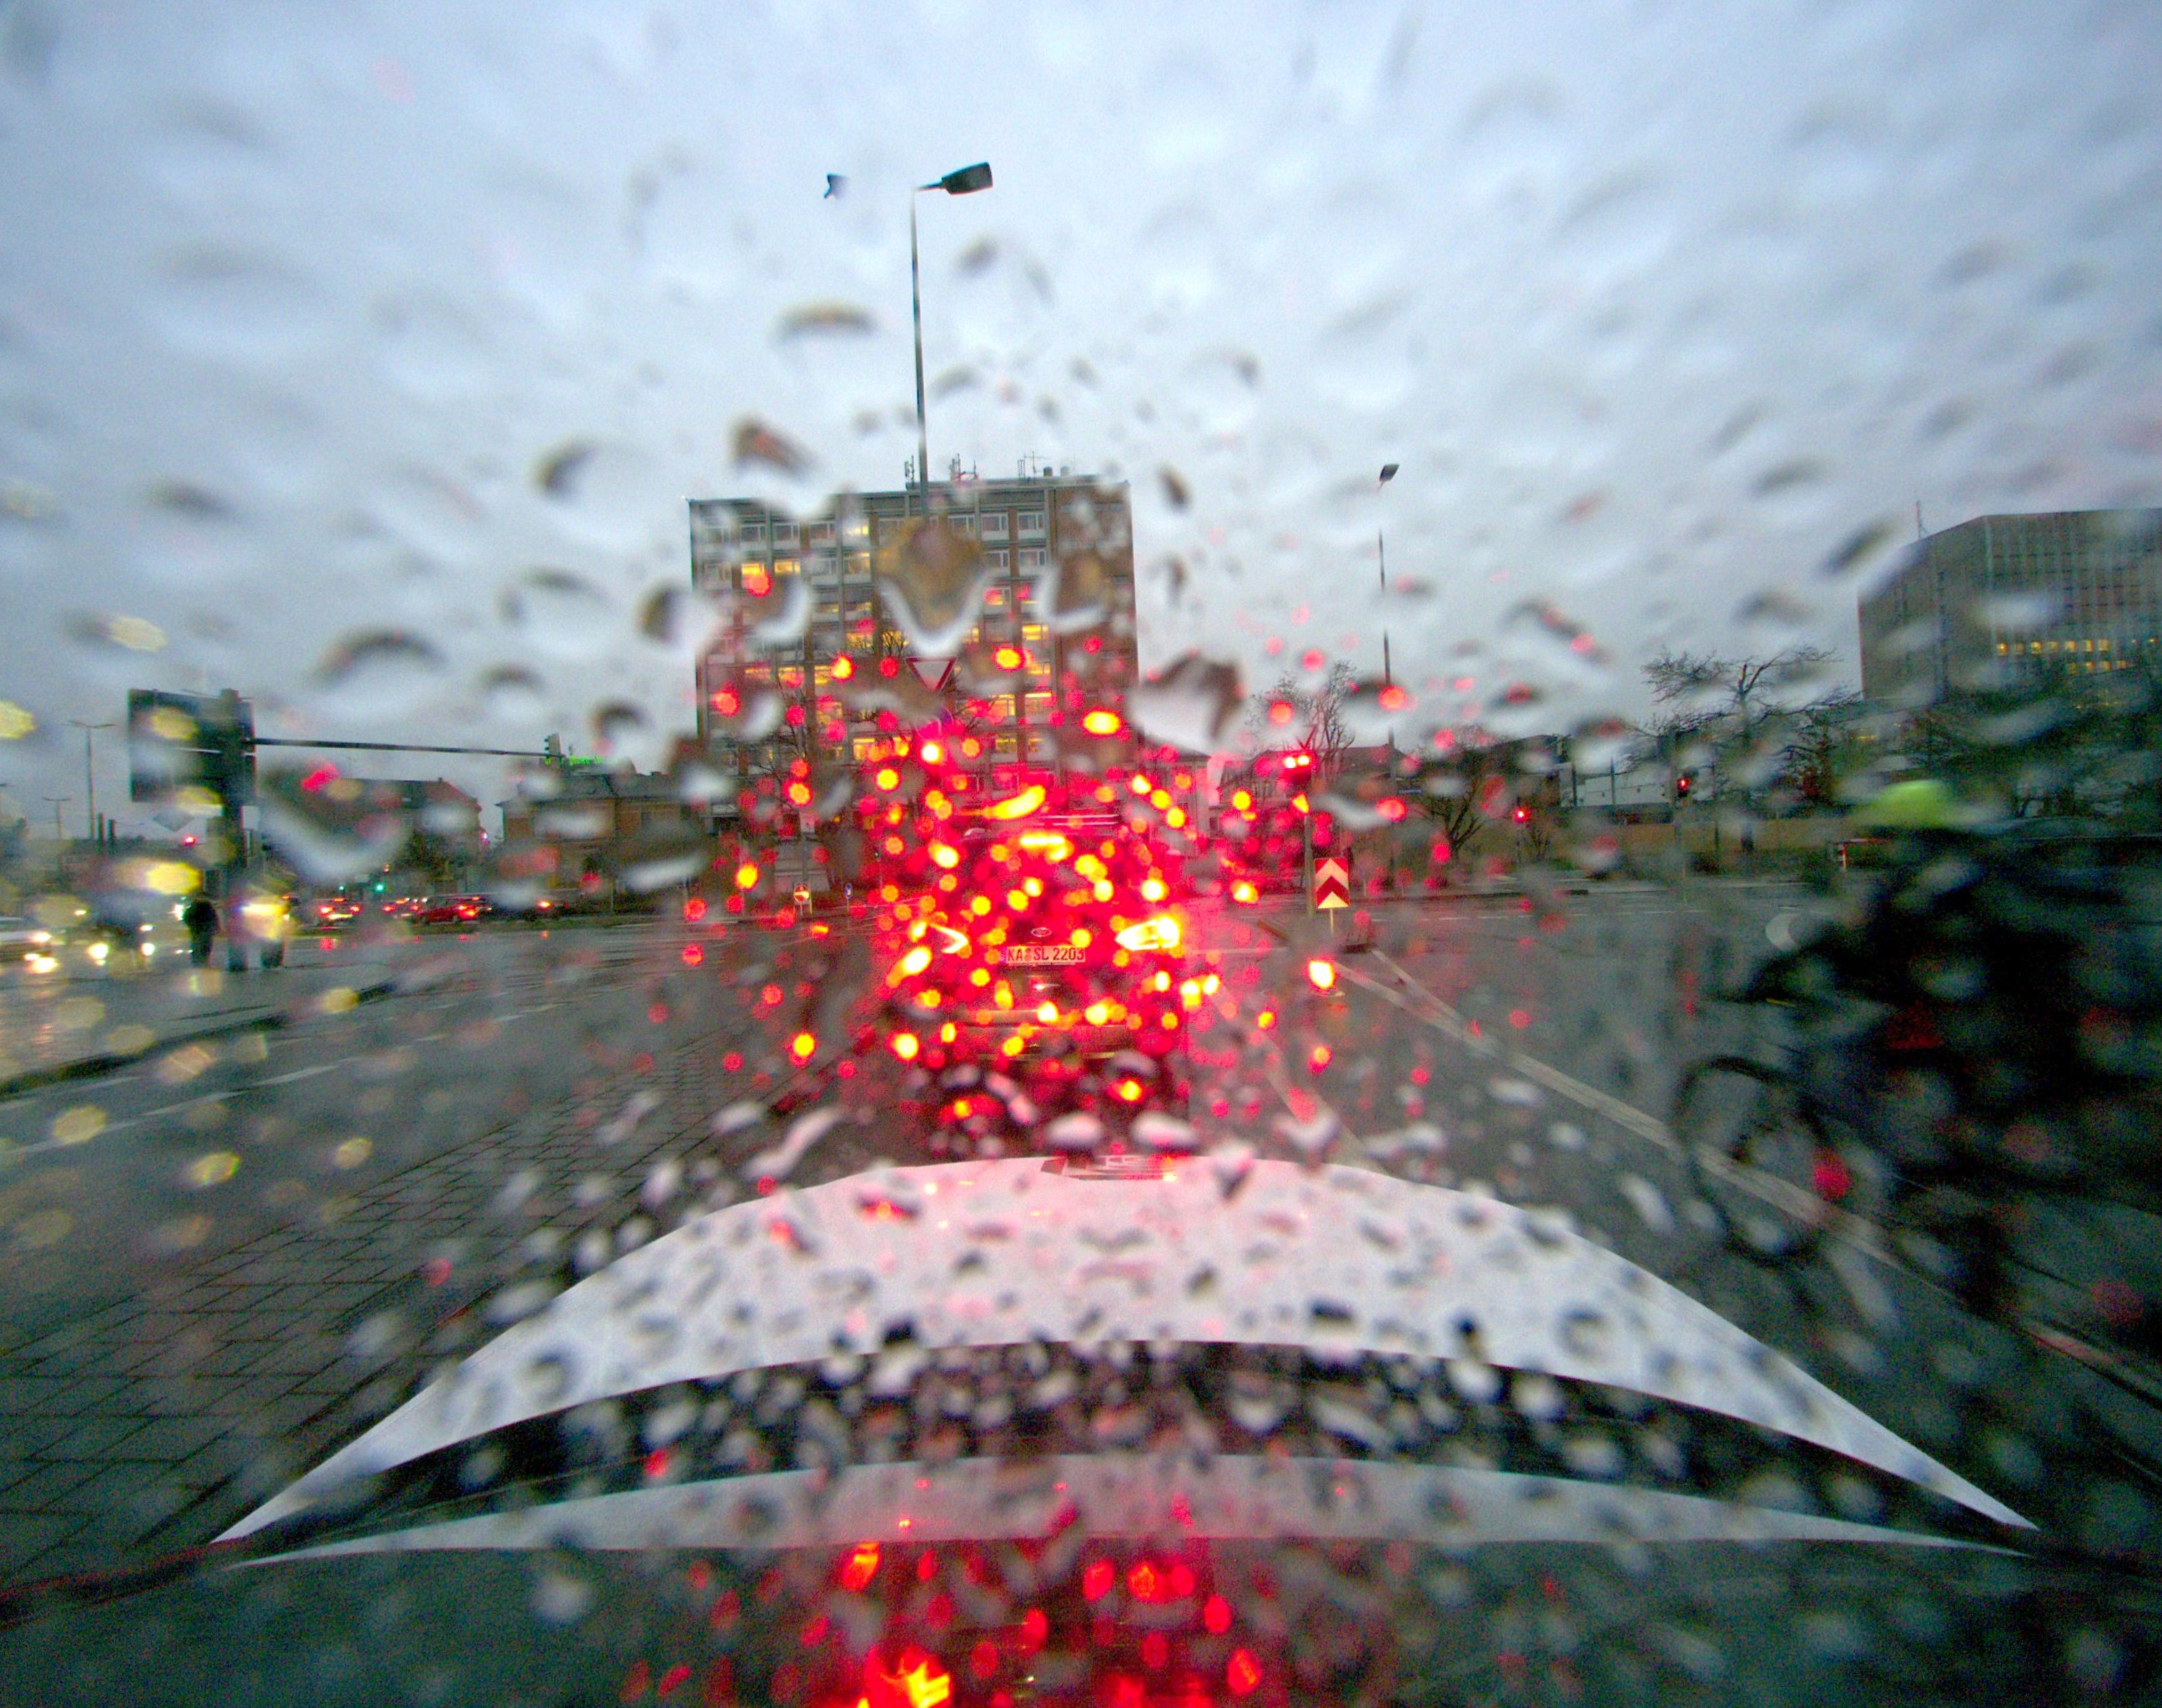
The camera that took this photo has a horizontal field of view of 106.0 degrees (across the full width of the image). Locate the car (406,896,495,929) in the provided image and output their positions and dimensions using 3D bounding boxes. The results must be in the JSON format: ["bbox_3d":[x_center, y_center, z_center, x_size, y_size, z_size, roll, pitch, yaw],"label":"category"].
[{"bbox_3d":[-33.333,3.053,43.074,3.954,1.568,1.836,-1,-1,20],"label":"car"}]

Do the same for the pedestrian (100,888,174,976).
[{"bbox_3d":[-20.839,1.709,17.997,0.733,1.838,0.674,-3,0,-11],"label":"pedestrian"}]

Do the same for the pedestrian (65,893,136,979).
[{"bbox_3d":[-21.507,1.779,17.878,0.741,1.770,0.546,-3,0,-12],"label":"pedestrian"}]

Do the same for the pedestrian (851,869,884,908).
[{"bbox_3d":[-10.921,1.767,41.618,0.992,1.842,1.146,-3,2,28],"label":"pedestrian"}]

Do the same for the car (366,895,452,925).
[{"bbox_3d":[-38.407,3.173,46.617,1.496,1.461,3.453,-1,-1,31],"label":"car"}]

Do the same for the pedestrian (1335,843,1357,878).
[{"bbox_3d":[14.088,0.334,43.259,0.988,1.799,0.924,-3,0,19],"label":"pedestrian"}]

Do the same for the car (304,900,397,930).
[{"bbox_3d":[-43.825,3.620,48.915,1.582,1.482,3.840,-1,-1,31],"label":"car"}]

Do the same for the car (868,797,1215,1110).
[{"bbox_3d":[-0.167,0.587,6.686,1.986,1.789,4.001,0,-1,2],"label":"car"}]

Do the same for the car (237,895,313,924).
[{"bbox_3d":[-53.098,3.613,53.661,1.505,1.702,3.411,-1,-1,39],"label":"car"}]

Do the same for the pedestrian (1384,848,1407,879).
[{"bbox_3d":[16.153,0.487,41.844,0.918,1.533,1.047,-3,0,14],"label":"pedestrian"}]

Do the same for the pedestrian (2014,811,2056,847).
[{"bbox_3d":[44.872,-1.178,38.315,0.956,1.603,0.796,-3,0,9],"label":"pedestrian"}]

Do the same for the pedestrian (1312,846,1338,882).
[{"bbox_3d":[12.477,0.502,41.746,1.127,1.720,0.984,-3,0,12],"label":"pedestrian"}]

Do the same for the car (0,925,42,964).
[{"bbox_3d":[-47.734,3.998,35.540,4.641,1.552,1.950,-3,-1,25],"label":"car"}]

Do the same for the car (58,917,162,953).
[{"bbox_3d":[-46.508,3.885,39.014,4.538,1.477,1.821,-3,-1,22],"label":"car"}]

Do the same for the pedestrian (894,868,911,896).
[{"bbox_3d":[-10.725,1.662,48.900,0.753,1.628,0.560,-3,0,18],"label":"pedestrian"}]

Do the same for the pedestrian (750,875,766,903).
[{"bbox_3d":[-20.704,2.240,52.227,0.634,1.688,0.640,-3,0,18],"label":"pedestrian"}]

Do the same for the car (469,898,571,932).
[{"bbox_3d":[-27.855,2.991,40.460,3.963,1.568,1.831,-1,-1,9],"label":"car"}]

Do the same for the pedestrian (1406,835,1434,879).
[{"bbox_3d":[17.055,0.145,40.949,0.900,2.113,0.876,-3,0,-37],"label":"pedestrian"}]

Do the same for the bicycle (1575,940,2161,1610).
[{"bbox_3d":[2.460,0.897,2.468,0.780,1.075,1.958,0,-1,2],"label":"bicycle"}]

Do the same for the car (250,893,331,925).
[{"bbox_3d":[-51.163,3.529,52.769,1.649,1.826,3.609,-1,-1,39],"label":"car"}]

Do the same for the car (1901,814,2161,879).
[{"bbox_3d":[23.166,-0.174,19.534,4.656,1.302,1.943,-3,-1,9],"label":"car"}]

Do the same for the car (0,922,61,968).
[{"bbox_3d":[-38.263,3.222,28.875,3.667,1.448,1.756,-2,1,25],"label":"car"}]

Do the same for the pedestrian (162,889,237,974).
[{"bbox_3d":[-19.546,1.704,18.071,0.653,1.755,0.856,-3,0,18],"label":"pedestrian"}]

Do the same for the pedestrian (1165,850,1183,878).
[{"bbox_3d":[5.610,0.608,49.136,0.766,1.628,0.712,-3,0,-43],"label":"pedestrian"}]

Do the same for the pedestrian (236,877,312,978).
[{"bbox_3d":[-17.299,1.549,17.482,0.996,2.021,0.792,-3,0,-39],"label":"pedestrian"}]

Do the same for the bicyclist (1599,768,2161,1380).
[{"bbox_3d":[2.342,0.527,2.509,0.780,1.453,1.134,0,-1,2],"label":"bicyclist"}]
